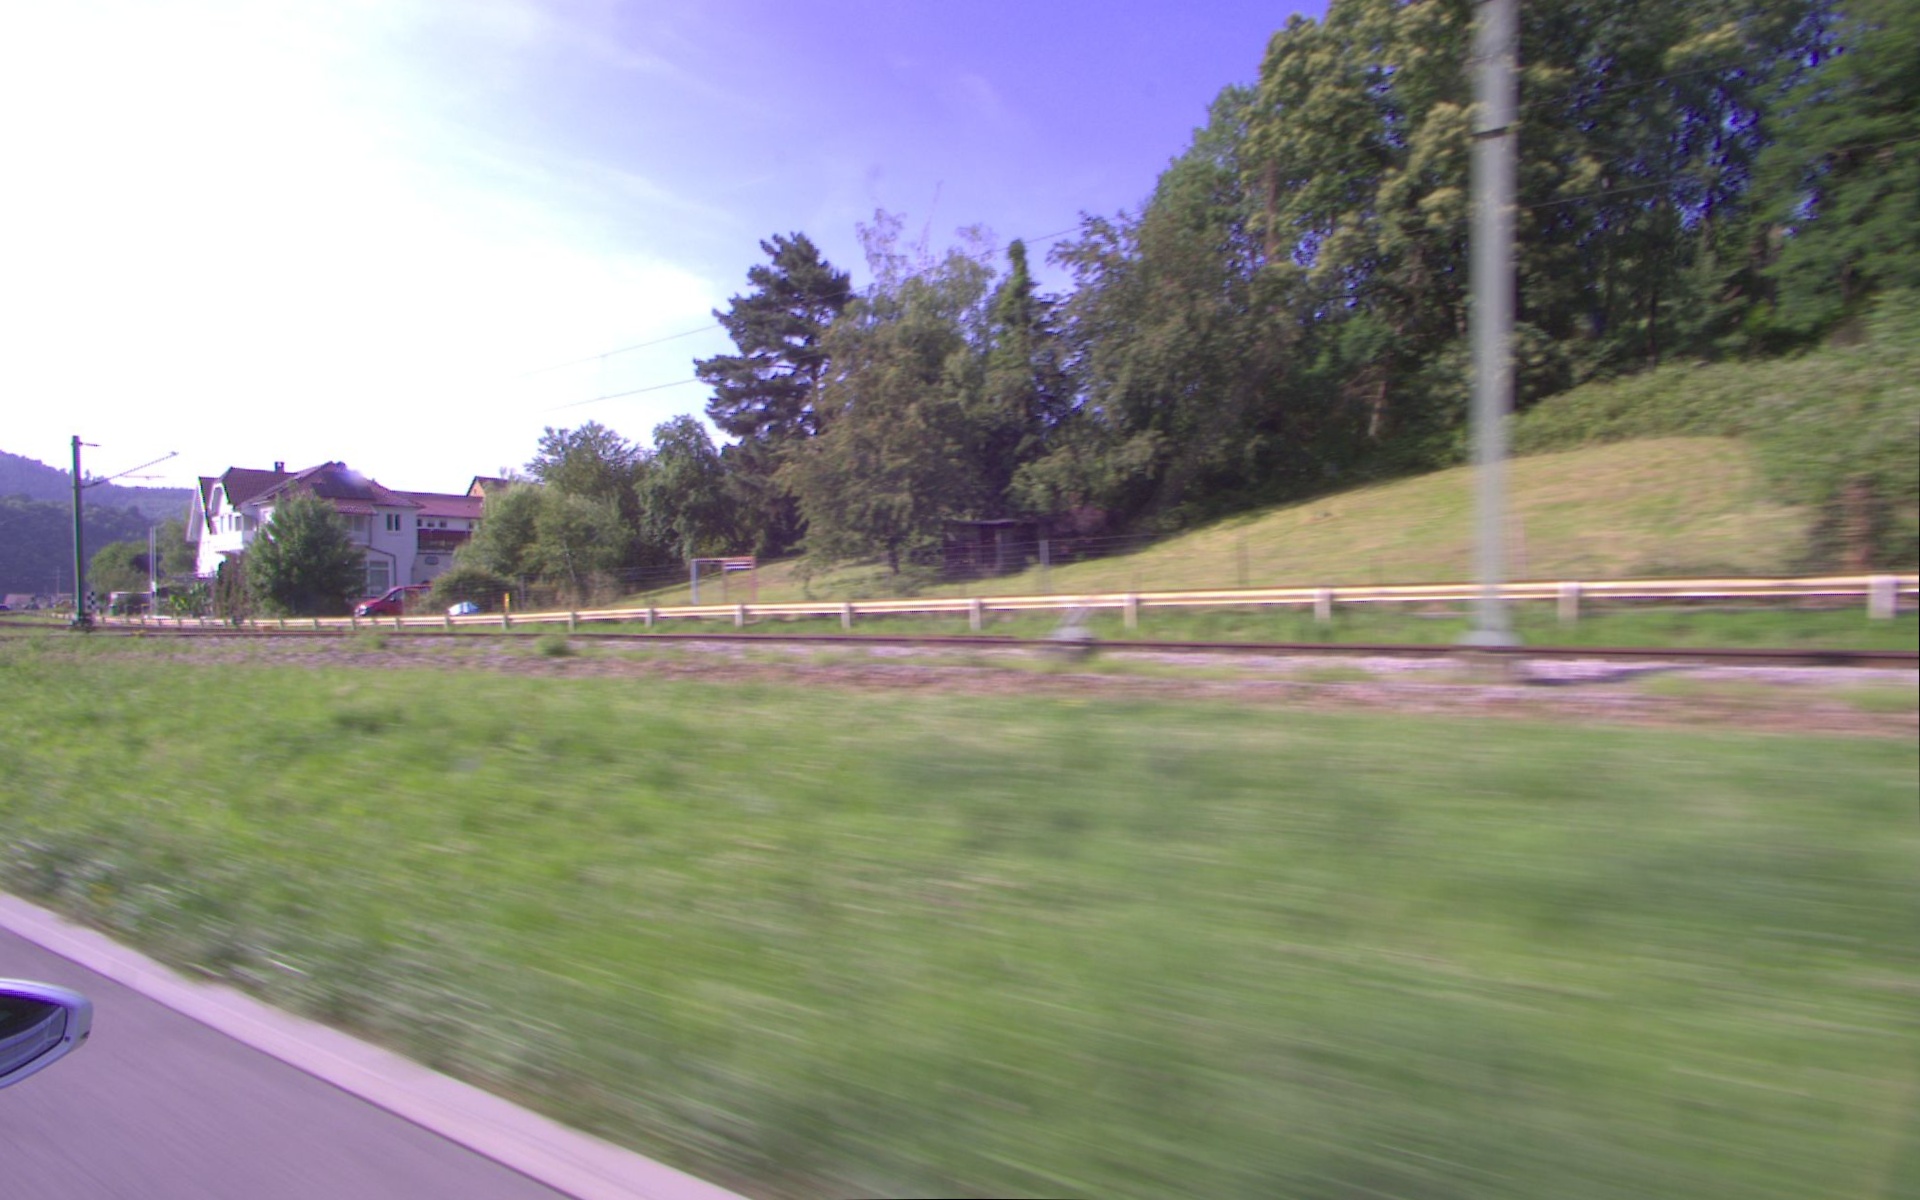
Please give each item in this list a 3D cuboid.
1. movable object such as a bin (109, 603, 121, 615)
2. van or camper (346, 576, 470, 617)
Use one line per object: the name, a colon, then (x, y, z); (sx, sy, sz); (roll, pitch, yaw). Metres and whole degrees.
movable object such as a bin: (-83.298, 0.886, 98.698); (0.802, 1.064, 0.903); (2, 0, -43)
van or camper: (-29.448, -0.225, 53.587); (2.098, 1.955, 5.384); (0, 2, 43)
